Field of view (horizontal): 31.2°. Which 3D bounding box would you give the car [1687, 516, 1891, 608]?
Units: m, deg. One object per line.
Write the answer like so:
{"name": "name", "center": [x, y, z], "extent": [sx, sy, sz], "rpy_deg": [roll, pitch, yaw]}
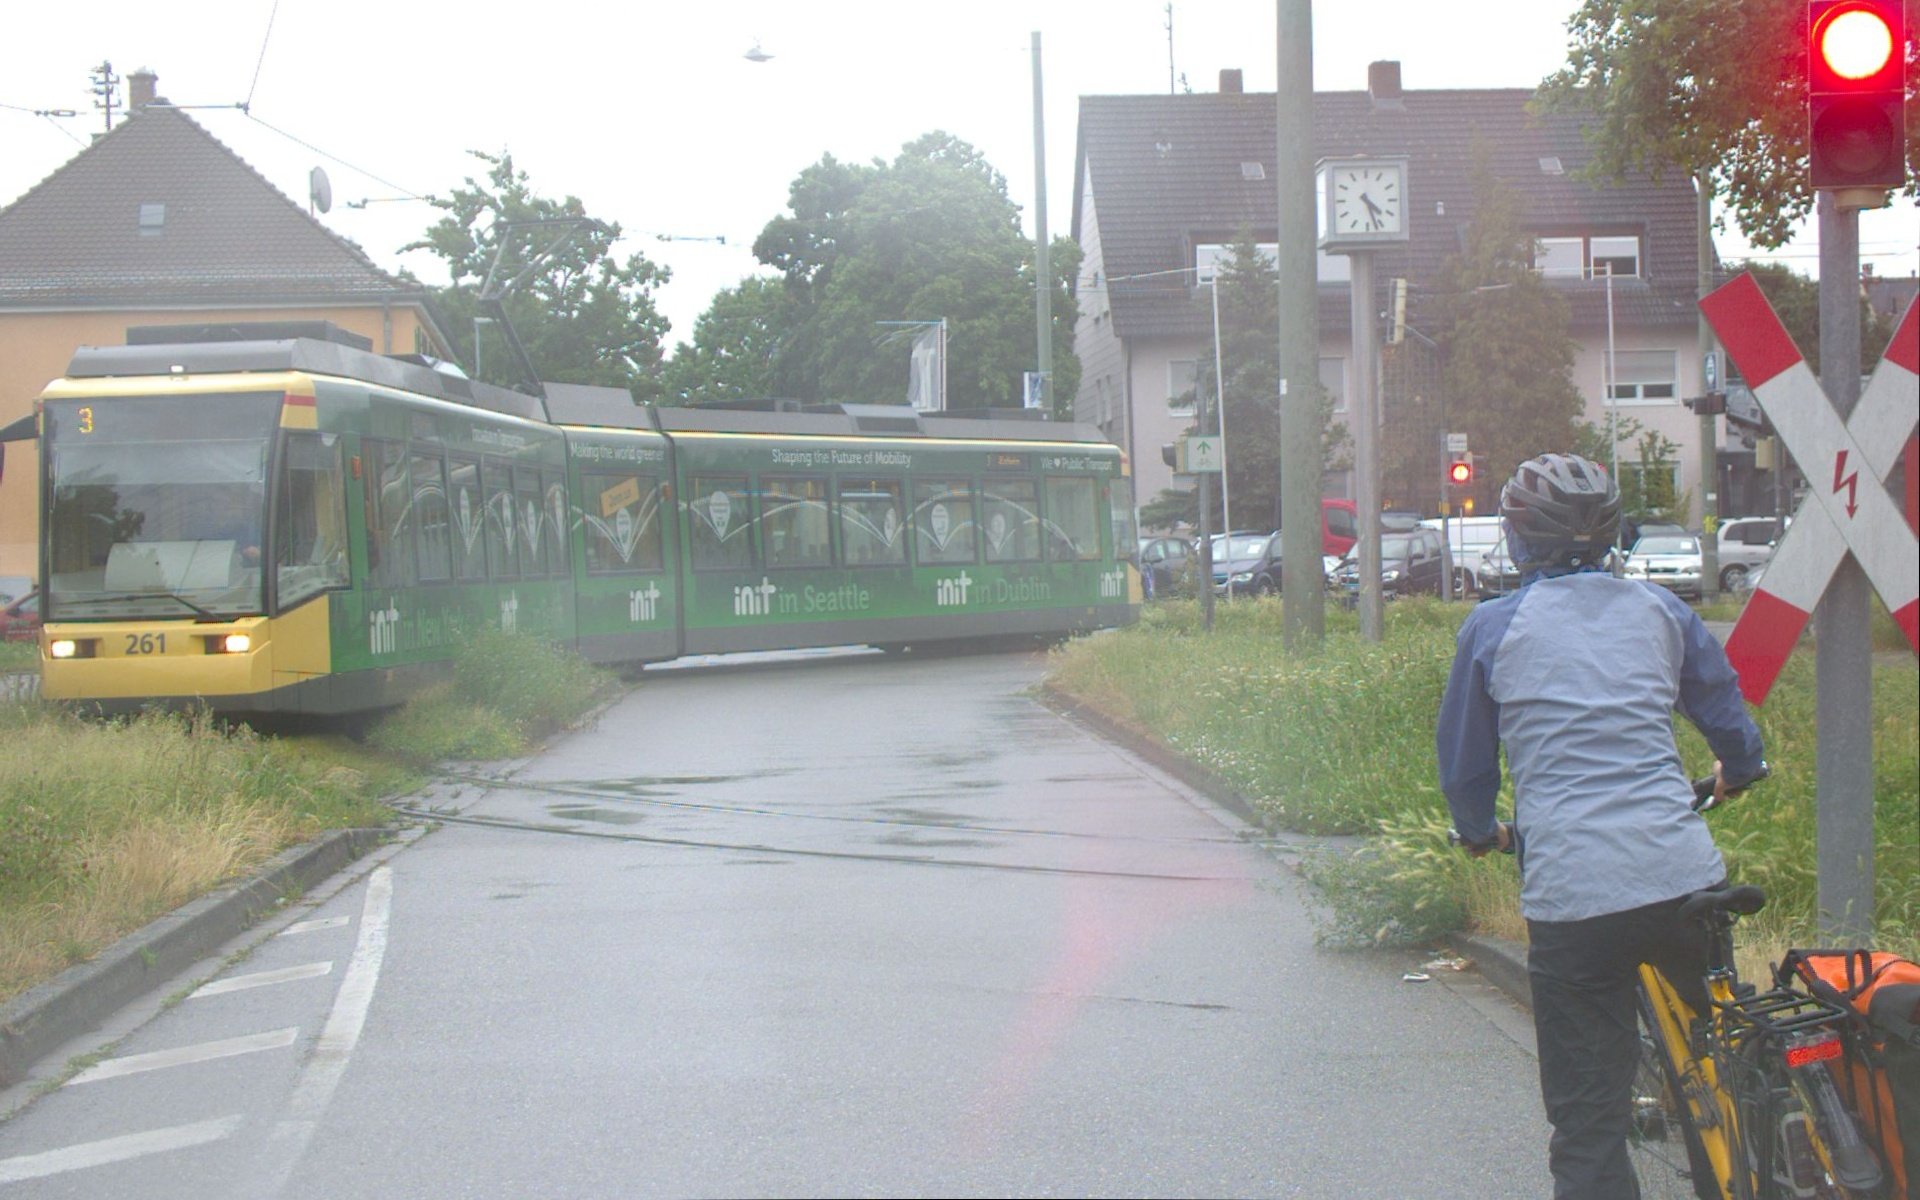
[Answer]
{"name": "car", "center": [18.365, -0.840, 76.269], "extent": [3.986, 1.944, 2.000], "rpy_deg": [1, 0, -2]}

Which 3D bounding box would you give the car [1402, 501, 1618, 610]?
{"name": "car", "center": [12.161, -0.983, 76.229], "extent": [4.395, 2.317, 2.000], "rpy_deg": [1, 0, -2]}

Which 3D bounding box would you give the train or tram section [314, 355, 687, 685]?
{"name": "train or tram section", "center": [-5.249, -0.878, 40.175], "extent": [2.762, 3.541, 4.986], "rpy_deg": [-1, 0, 12]}

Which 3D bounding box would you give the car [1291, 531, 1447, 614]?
{"name": "car", "center": [8.396, -0.557, 70.351], "extent": [1.996, 1.634, 3.995], "rpy_deg": [1, 0, 25]}

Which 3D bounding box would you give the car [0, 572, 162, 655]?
{"name": "car", "center": [-16.673, 0.222, 62.588], "extent": [3.986, 1.451, 1.834], "rpy_deg": [1, 0, -6]}

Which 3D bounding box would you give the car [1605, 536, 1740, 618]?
{"name": "car", "center": [14.743, -0.473, 70.962], "extent": [1.843, 1.634, 3.995], "rpy_deg": [1, 0, 25]}

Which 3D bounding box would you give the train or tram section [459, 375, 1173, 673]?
{"name": "train or tram section", "center": [-1.481, -1.060, 47.276], "extent": [2.765, 3.541, 13.109], "rpy_deg": [-1, 1, 32]}

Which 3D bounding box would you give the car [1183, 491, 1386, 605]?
{"name": "car", "center": [7.539, -1.197, 79.794], "extent": [4.398, 2.557, 1.999], "rpy_deg": [1, 0, 14]}

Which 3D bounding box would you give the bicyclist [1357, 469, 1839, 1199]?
{"name": "bicyclist", "center": [1.115, 0.592, 6.174], "extent": [0.667, 1.620, 0.853], "rpy_deg": [1, 0, -2]}

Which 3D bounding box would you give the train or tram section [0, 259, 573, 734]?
{"name": "train or tram section", "center": [-5.959, -0.824, 32.172], "extent": [2.761, 3.541, 12.203], "rpy_deg": [-1, 0, 2]}

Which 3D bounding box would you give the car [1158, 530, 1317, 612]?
{"name": "car", "center": [5.802, -0.603, 71.519], "extent": [1.996, 1.634, 3.995], "rpy_deg": [1, 0, 25]}

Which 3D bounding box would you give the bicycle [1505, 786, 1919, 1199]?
{"name": "bicycle", "center": [1.350, 0.899, 6.064], "extent": [0.446, 1.001, 1.728], "rpy_deg": [-1, 1, -2]}

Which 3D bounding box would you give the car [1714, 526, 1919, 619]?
{"name": "car", "center": [16.348, -0.516, 65.101], "extent": [3.684, 1.695, 1.890], "rpy_deg": [1, 0, 0]}

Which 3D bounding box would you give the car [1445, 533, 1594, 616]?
{"name": "car", "center": [11.514, -0.515, 70.571], "extent": [1.996, 1.634, 3.995], "rpy_deg": [1, 0, 25]}
